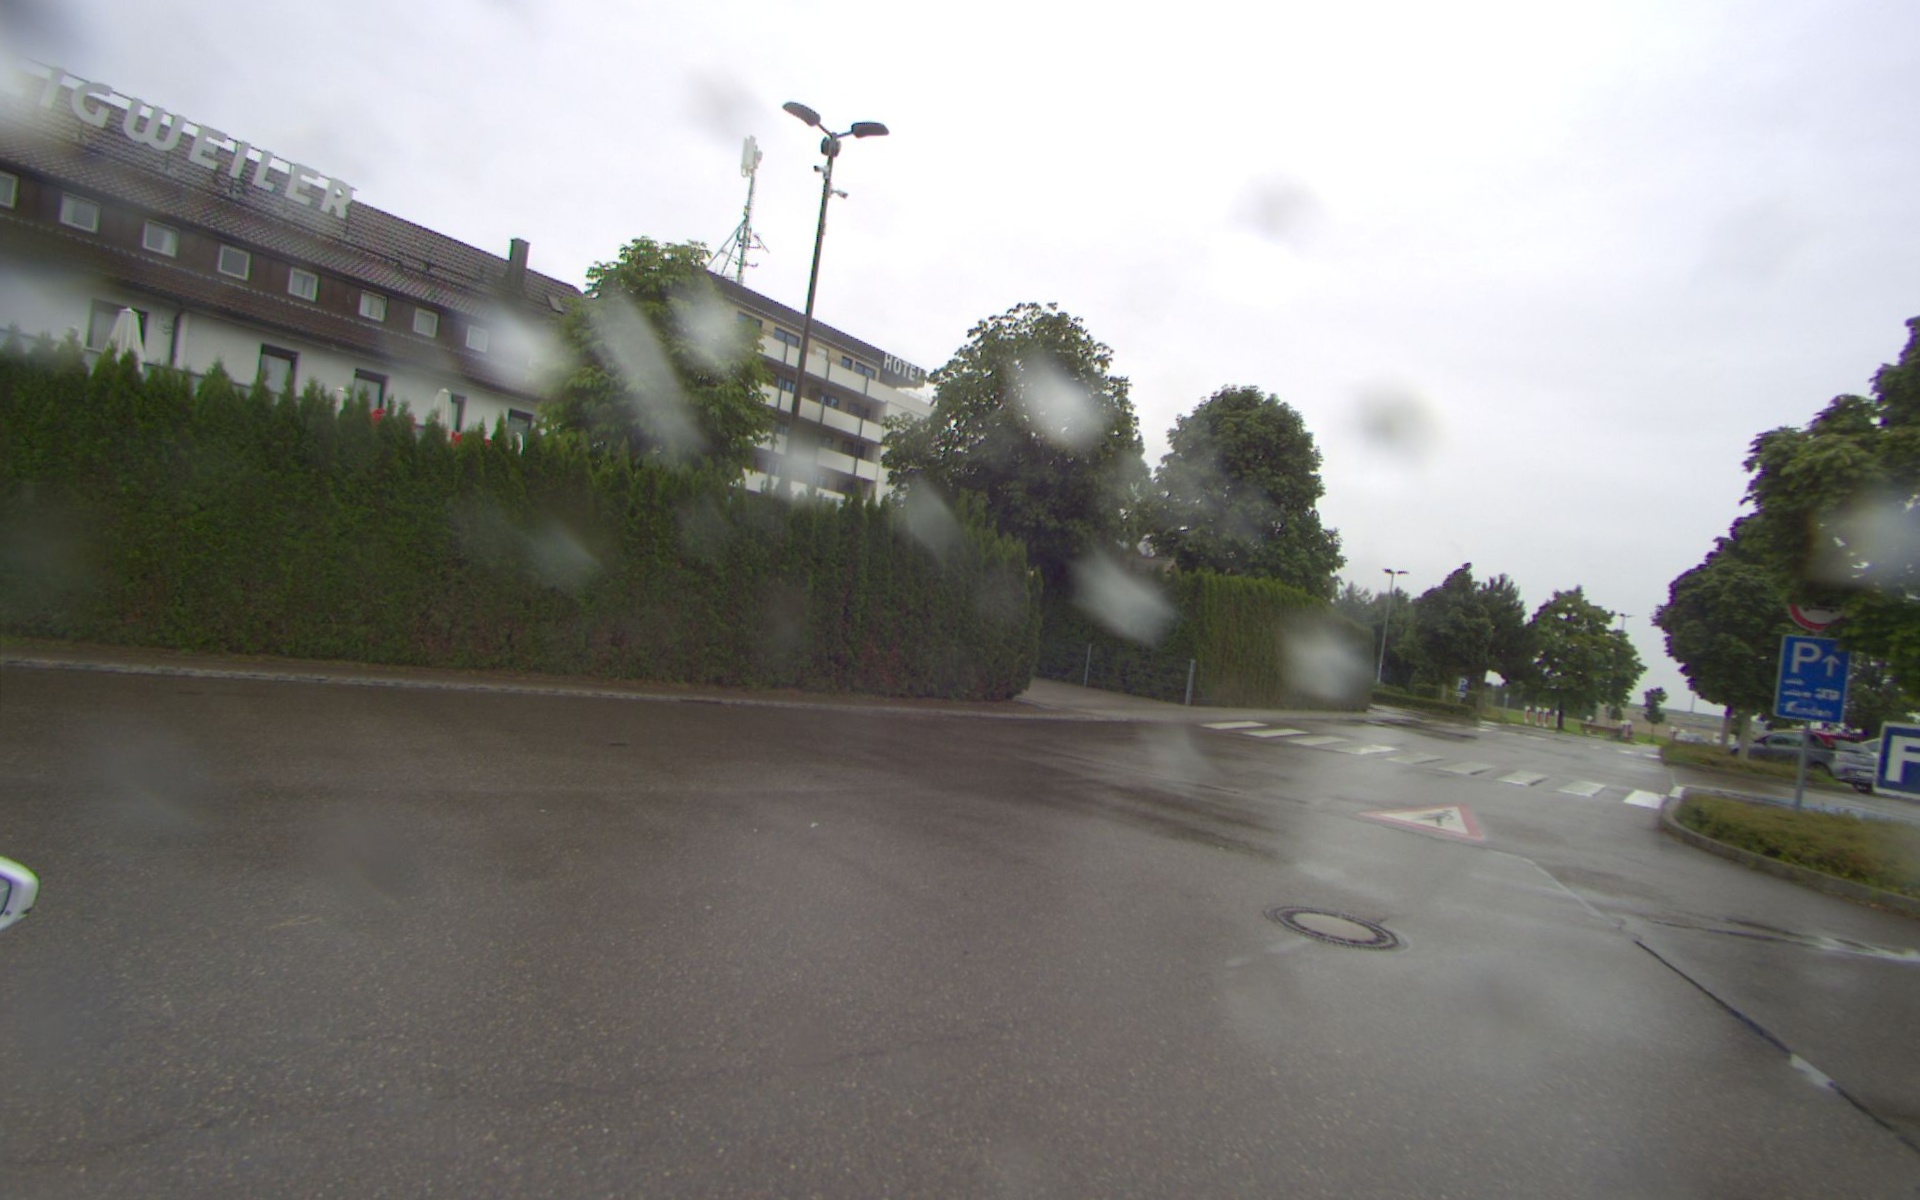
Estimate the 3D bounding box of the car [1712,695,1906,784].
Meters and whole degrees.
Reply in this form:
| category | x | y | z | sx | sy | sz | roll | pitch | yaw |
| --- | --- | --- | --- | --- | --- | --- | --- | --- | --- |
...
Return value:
| category | x | y | z | sx | sy | sz | roll | pitch | yaw |
| --- | --- | --- | --- | --- | --- | --- | --- | --- | --- |
| car | 23.881 | 3.870 | 28.531 | 1.767 | 1.714 | 4.045 | 7 | 1 | -3 |

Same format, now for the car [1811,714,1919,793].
| category | x | y | z | sx | sy | sz | roll | pitch | yaw |
| --- | --- | --- | --- | --- | --- | --- | --- | --- | --- |
| car | 26.711 | 4.426 | 28.401 | 1.681 | 1.714 | 4.046 | 7 | 0 | -1 |
